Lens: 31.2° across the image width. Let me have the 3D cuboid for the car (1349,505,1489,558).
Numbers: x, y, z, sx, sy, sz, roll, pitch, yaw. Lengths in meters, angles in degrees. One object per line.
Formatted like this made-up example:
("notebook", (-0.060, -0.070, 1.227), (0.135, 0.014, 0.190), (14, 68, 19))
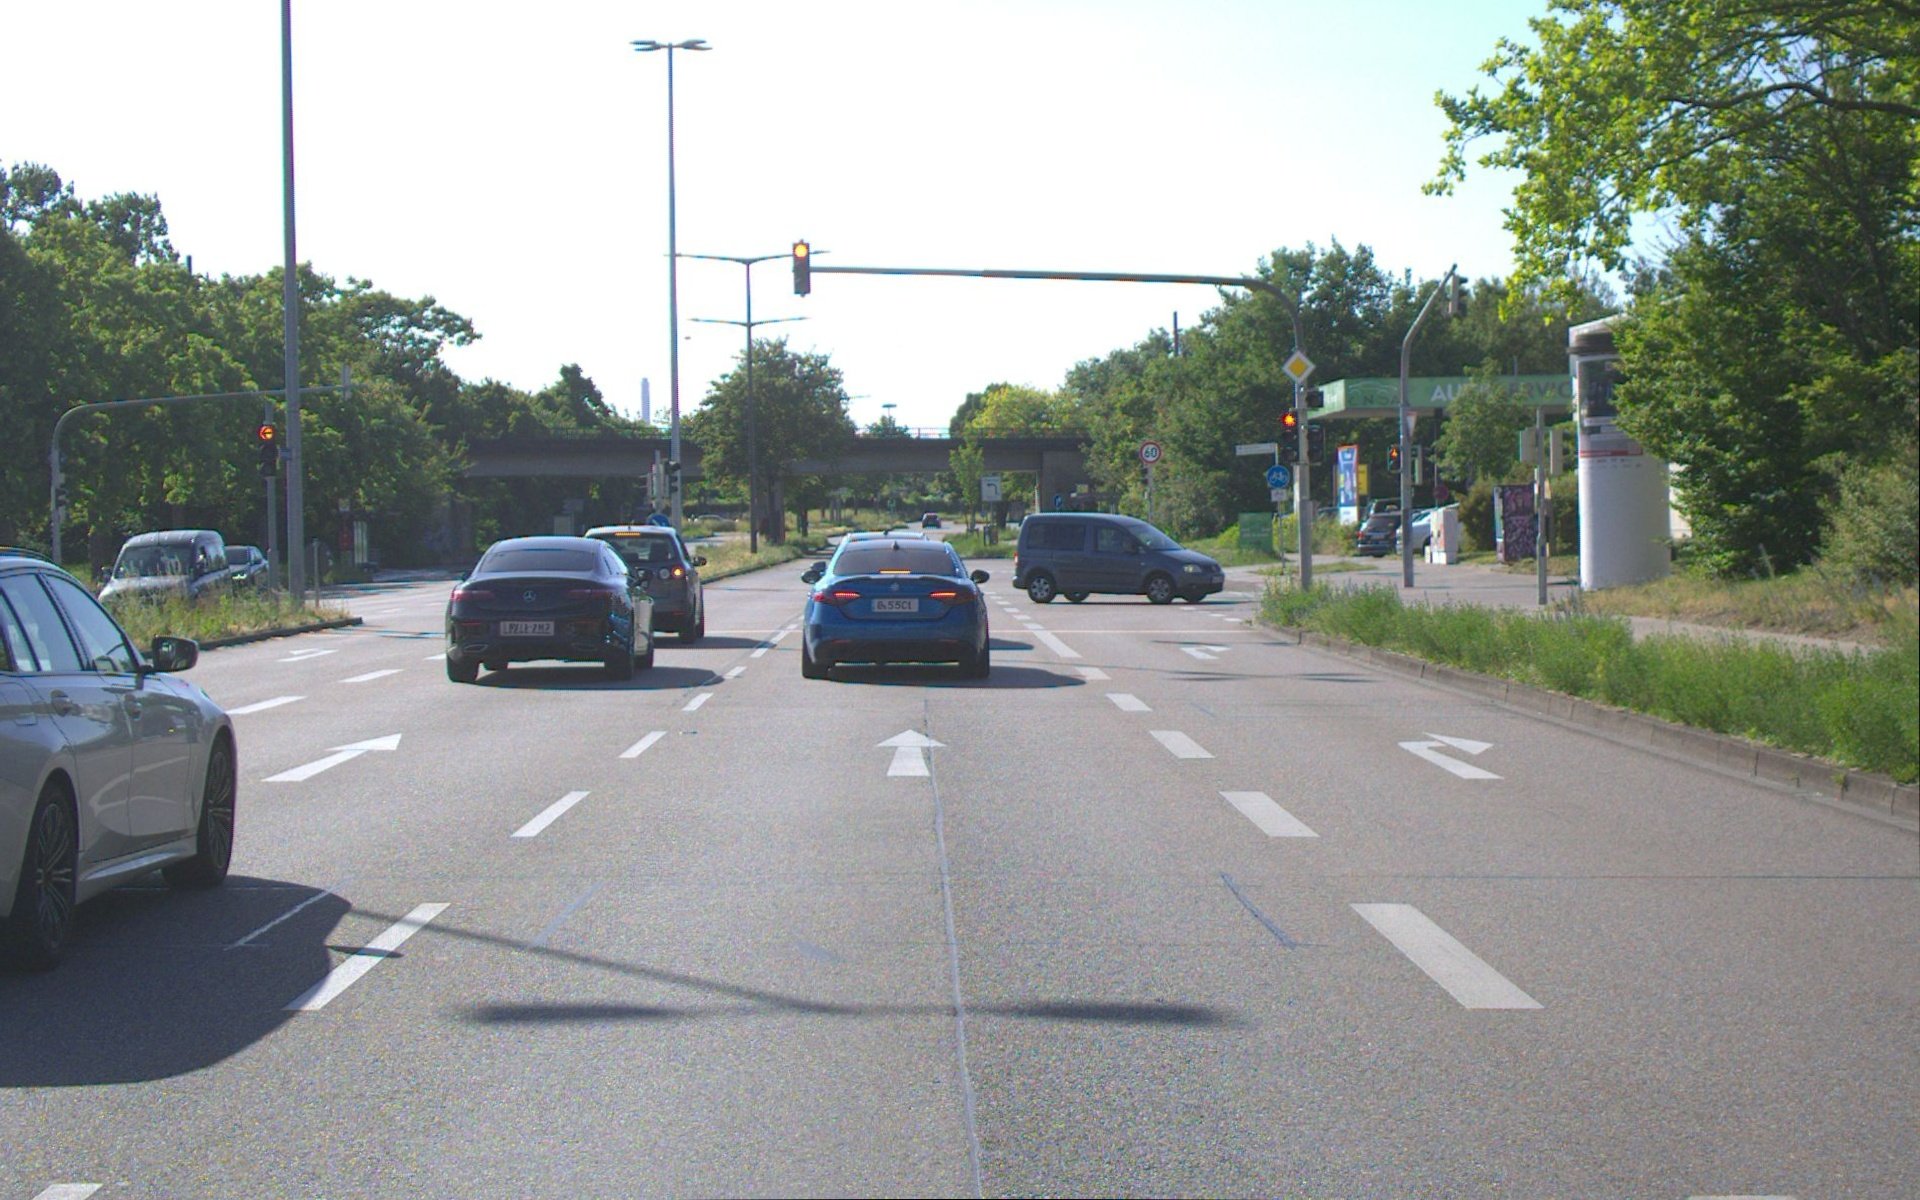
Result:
("car", (13.895, -2.079, 104.244), (3.987, 1.547, 2.000), (1, 0, 1))

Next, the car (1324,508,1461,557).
("car", (14.203, -2.202, 112.986), (3.986, 1.547, 2.001), (0, 1, -17))

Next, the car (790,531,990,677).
("car", (-0.672, 0.018, 35.680), (1.910, 1.418, 3.719), (1, 1, 1))

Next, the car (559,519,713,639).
("car", (-4.382, -0.292, 46.997), (1.812, 1.546, 4.354), (1, 1, -2))

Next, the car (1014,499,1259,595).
("car", (3.566, -1.068, 69.553), (4.588, 1.869, 1.815), (0, 1, 28))

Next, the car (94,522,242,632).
("car", (-13.740, -0.406, 59.841), (1.677, 1.841, 4.295), (1, 1, -1))

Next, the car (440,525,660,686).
("car", (-4.157, 0.007, 35.484), (1.812, 1.546, 4.544), (0, 1, -1))

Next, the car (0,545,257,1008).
("car", (-3.994, 0.536, 12.905), (1.812, 1.481, 4.596), (1, 1, -1))
